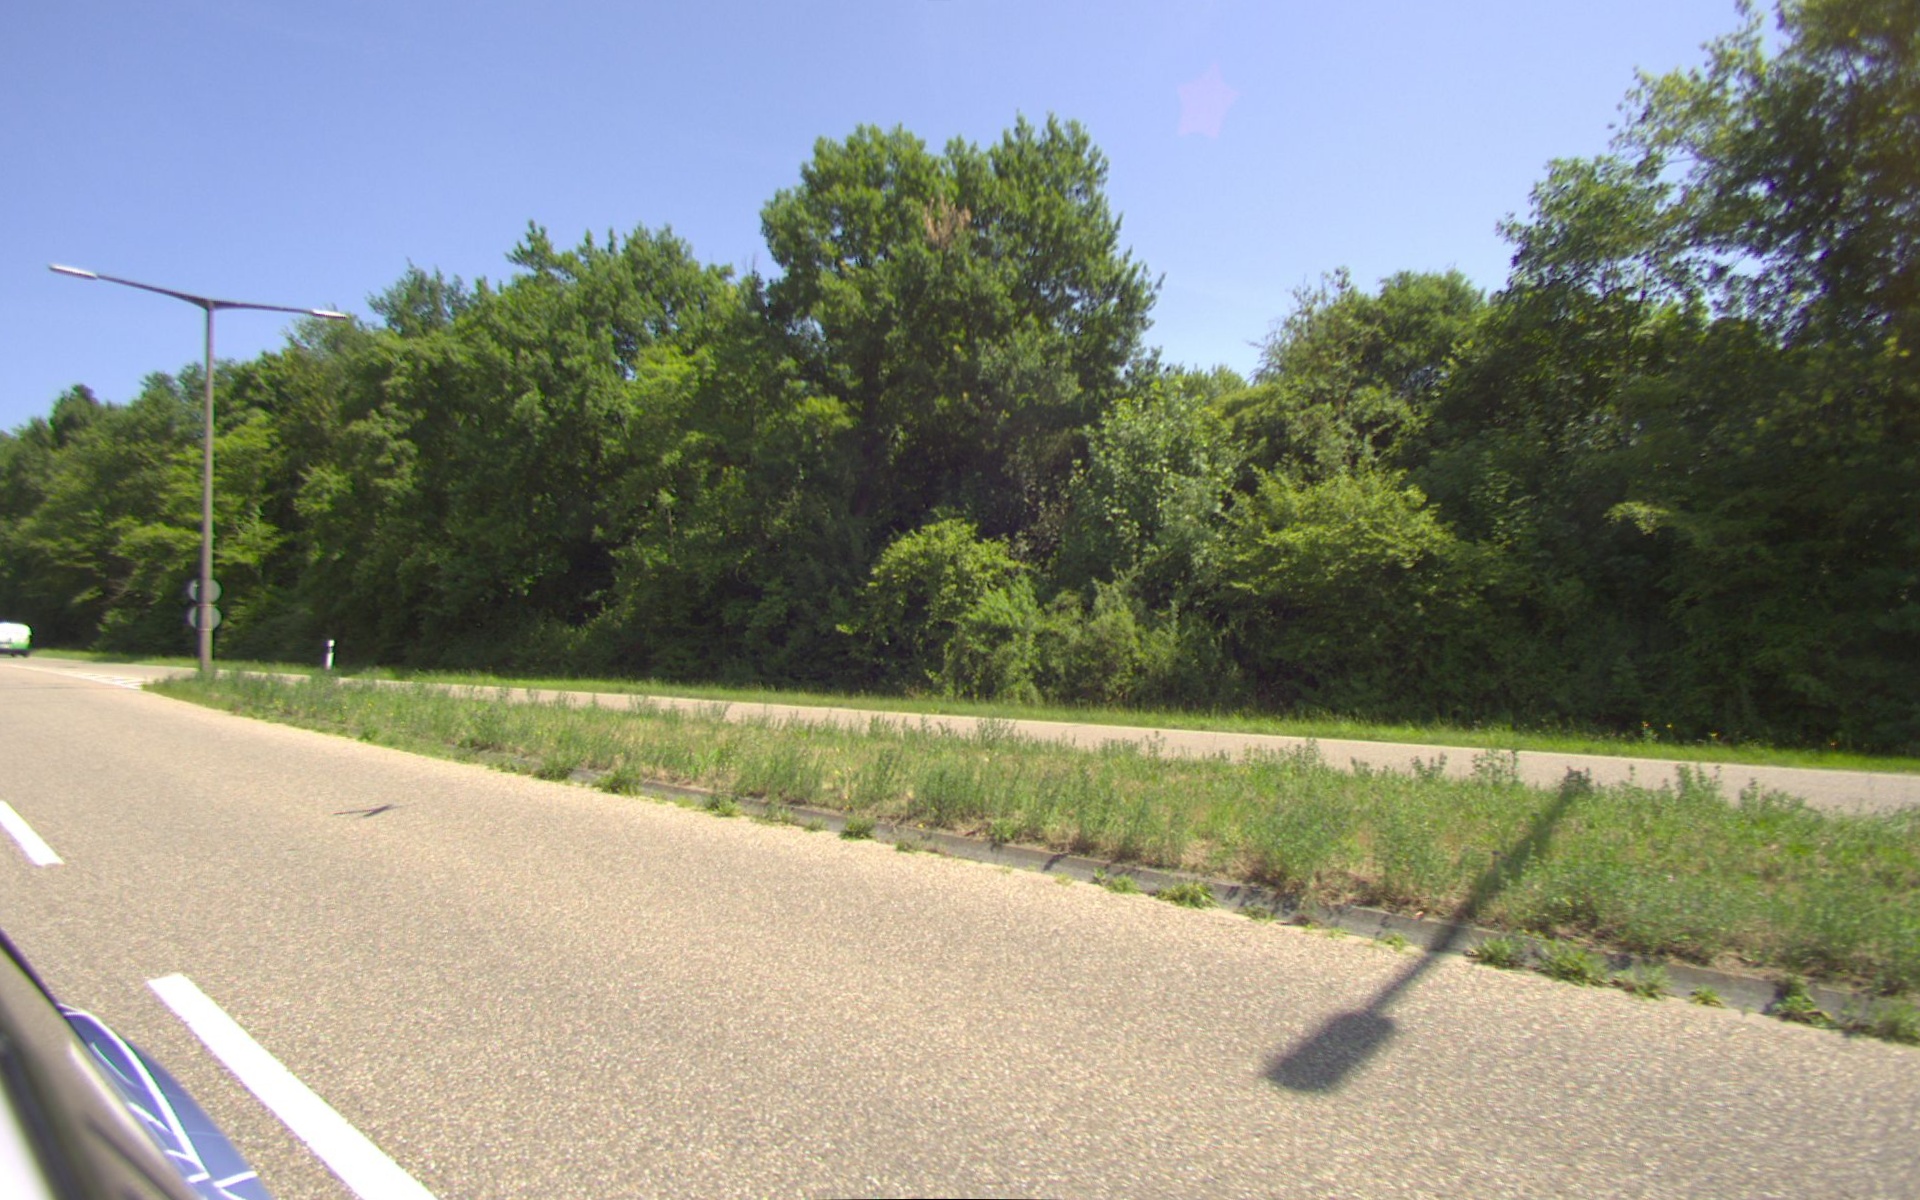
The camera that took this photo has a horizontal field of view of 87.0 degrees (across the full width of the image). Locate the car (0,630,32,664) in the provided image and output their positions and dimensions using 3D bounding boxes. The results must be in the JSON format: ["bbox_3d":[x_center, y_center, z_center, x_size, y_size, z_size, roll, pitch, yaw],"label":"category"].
[{"bbox_3d":[-50.421,2.448,53.094,4.086,1.701,1.716,-1,-5,36],"label":"car"}]
